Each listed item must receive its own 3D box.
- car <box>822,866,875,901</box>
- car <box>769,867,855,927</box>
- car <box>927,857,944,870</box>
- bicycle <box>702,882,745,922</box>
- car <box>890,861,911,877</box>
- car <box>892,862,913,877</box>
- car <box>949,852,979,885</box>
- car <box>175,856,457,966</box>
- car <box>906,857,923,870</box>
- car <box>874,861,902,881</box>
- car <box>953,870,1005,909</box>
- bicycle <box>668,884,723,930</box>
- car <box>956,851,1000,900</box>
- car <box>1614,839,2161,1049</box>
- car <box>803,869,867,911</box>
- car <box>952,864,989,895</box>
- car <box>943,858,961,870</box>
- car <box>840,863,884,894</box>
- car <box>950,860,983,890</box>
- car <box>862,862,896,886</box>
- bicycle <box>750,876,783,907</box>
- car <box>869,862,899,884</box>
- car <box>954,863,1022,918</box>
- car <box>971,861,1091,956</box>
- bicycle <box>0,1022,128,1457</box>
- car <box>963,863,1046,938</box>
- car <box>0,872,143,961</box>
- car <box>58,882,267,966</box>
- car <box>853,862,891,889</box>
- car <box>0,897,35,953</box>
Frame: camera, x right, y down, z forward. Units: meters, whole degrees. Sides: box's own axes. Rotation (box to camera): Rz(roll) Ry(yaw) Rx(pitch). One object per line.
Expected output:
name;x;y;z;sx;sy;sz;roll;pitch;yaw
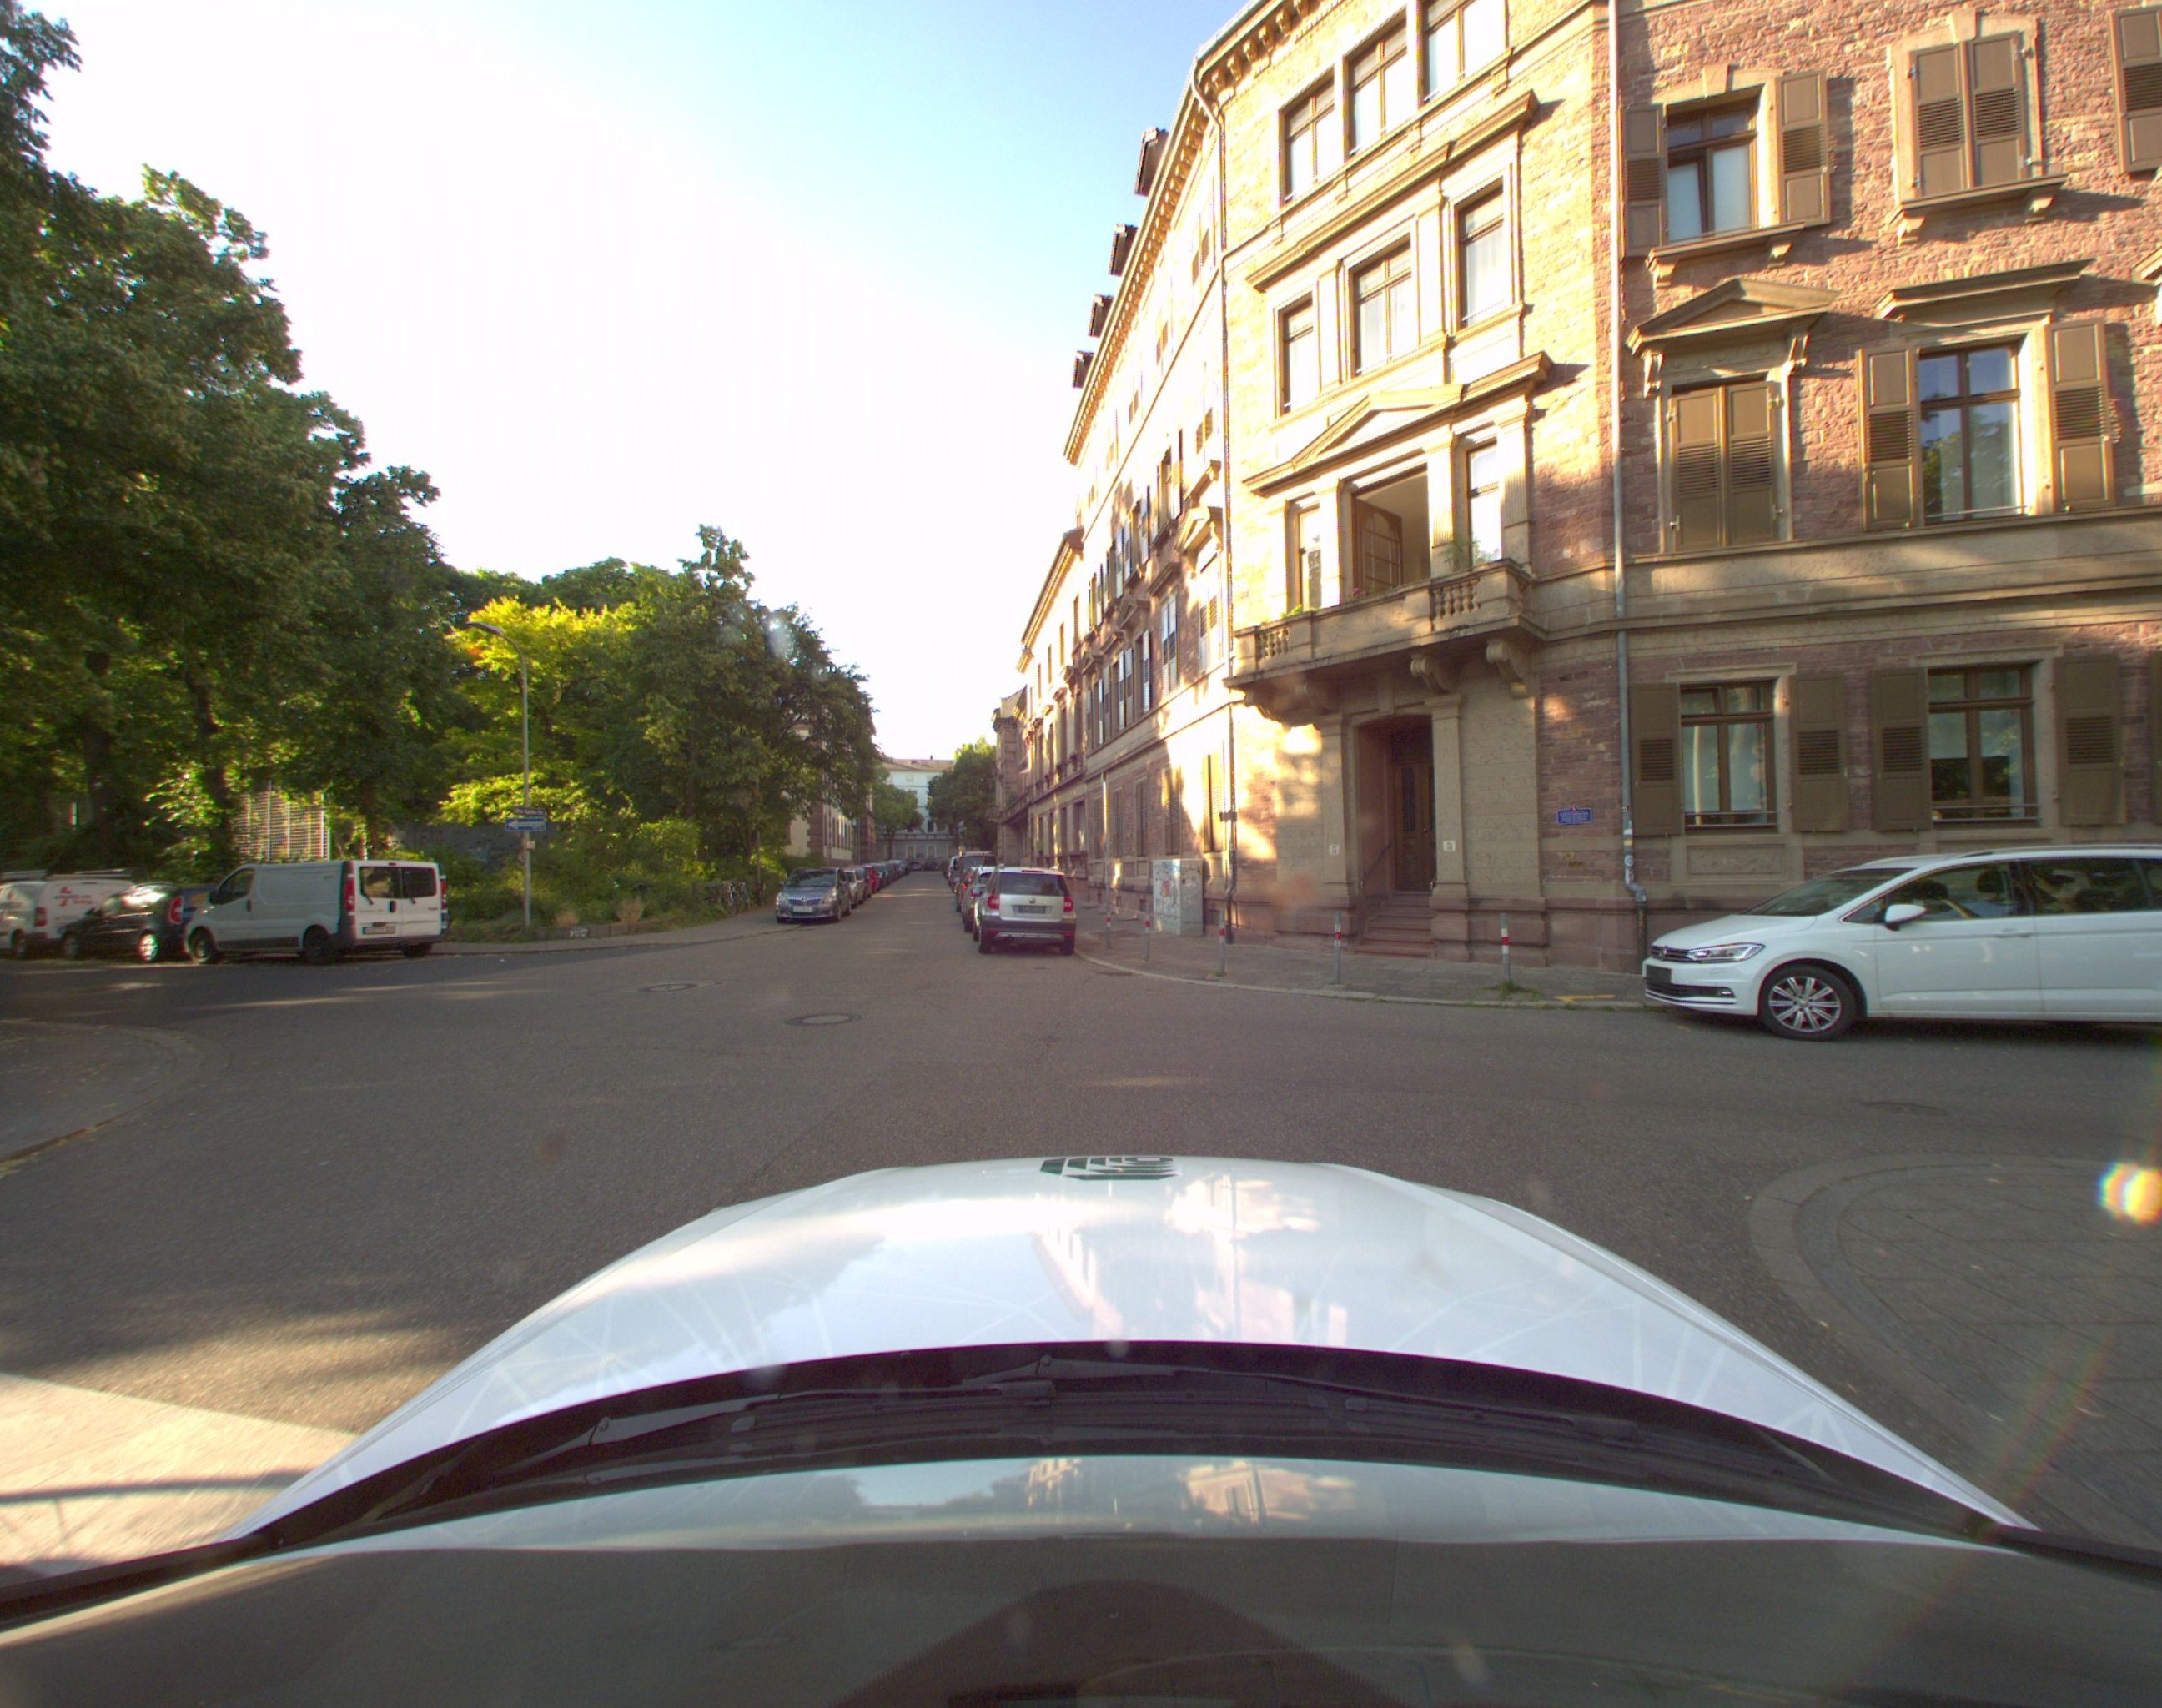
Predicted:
car;-10.534;1.305;37.196;1.826;1.478;3.918;2;-1;-9
car;-8.219;1.260;25.261;1.826;1.615;4.277;2;-1;-9
car;-20.456;1.410;114.179;1.997;1.684;3.978;0;-3;-16
bicycle;-11.101;1.456;25.353;0.597;1.101;2.618;-1;-1;-10
car;-17.810;1.443;80.477;1.826;1.500;3.918;2;-1;-9
car;-18.704;1.589;85.479;1.826;1.500;3.918;2;-1;-9
car;-7.841;0.984;54.225;1.798;2.073;3.941;2;-1;-10
car;-15.298;1.093;16.347;4.609;2.003;1.958;-1;-1;15
car;-23.167;1.379;113.088;1.997;1.684;3.978;0;-3;-16
car;-15.455;1.335;65.369;1.826;1.500;3.918;2;-1;-9
car;-4.044;1.339;31.824;1.798;1.345;3.941;2;-1;-10
bicycle;-10.693;1.439;22.673;0.596;1.101;2.620;-1;-1;-8
car;-4.813;0.972;37.634;1.798;2.073;3.941;2;-1;-10
car;7.852;0.765;7.582;4.449;1.650;1.882;-1;-3;16
car;-9.507;1.357;31.740;1.826;1.447;3.918;2;-1;-9
car;-5.877;1.302;43.051;1.798;1.524;3.941;2;-1;-10
car;-18.221;1.426;114.858;1.997;1.684;3.978;0;-3;-16
car;-11.585;1.268;43.356;1.826;1.500;3.918;2;-1;-9
car;-6.818;1.226;48.164;1.798;1.623;3.941;2;-1;-10
car;-13.621;1.334;55.067;1.826;1.500;3.918;2;-1;-9
bicycle;-12.227;1.428;31.750;0.596;1.101;2.619;-1;-1;-8
car;-14.358;1.385;59.462;1.826;1.500;3.918;2;-1;-9
car;-3.118;1.142;26.689;1.799;1.614;3.938;2;-1;-12
car;-1.155;1.036;16.665;1.916;1.657;4.171;2;-2;-10
bicycle;-3.331;1.026;1.382;0.693;1.054;2.132;-1;-1;14
car;-2.145;1.143;21.681;1.826;1.724;4.528;2;-1;-9
car;-24.148;1.409;18.992;3.858;1.903;1.584;-1;-1;18
car;-19.825;1.474;17.608;3.671;1.637;1.583;-1;-1;17
car;-12.600;1.285;49.335;1.826;1.500;3.918;2;-1;-9
car;-28.784;1.826;20.733;3.558;1.386;1.584;-1;-1;20
